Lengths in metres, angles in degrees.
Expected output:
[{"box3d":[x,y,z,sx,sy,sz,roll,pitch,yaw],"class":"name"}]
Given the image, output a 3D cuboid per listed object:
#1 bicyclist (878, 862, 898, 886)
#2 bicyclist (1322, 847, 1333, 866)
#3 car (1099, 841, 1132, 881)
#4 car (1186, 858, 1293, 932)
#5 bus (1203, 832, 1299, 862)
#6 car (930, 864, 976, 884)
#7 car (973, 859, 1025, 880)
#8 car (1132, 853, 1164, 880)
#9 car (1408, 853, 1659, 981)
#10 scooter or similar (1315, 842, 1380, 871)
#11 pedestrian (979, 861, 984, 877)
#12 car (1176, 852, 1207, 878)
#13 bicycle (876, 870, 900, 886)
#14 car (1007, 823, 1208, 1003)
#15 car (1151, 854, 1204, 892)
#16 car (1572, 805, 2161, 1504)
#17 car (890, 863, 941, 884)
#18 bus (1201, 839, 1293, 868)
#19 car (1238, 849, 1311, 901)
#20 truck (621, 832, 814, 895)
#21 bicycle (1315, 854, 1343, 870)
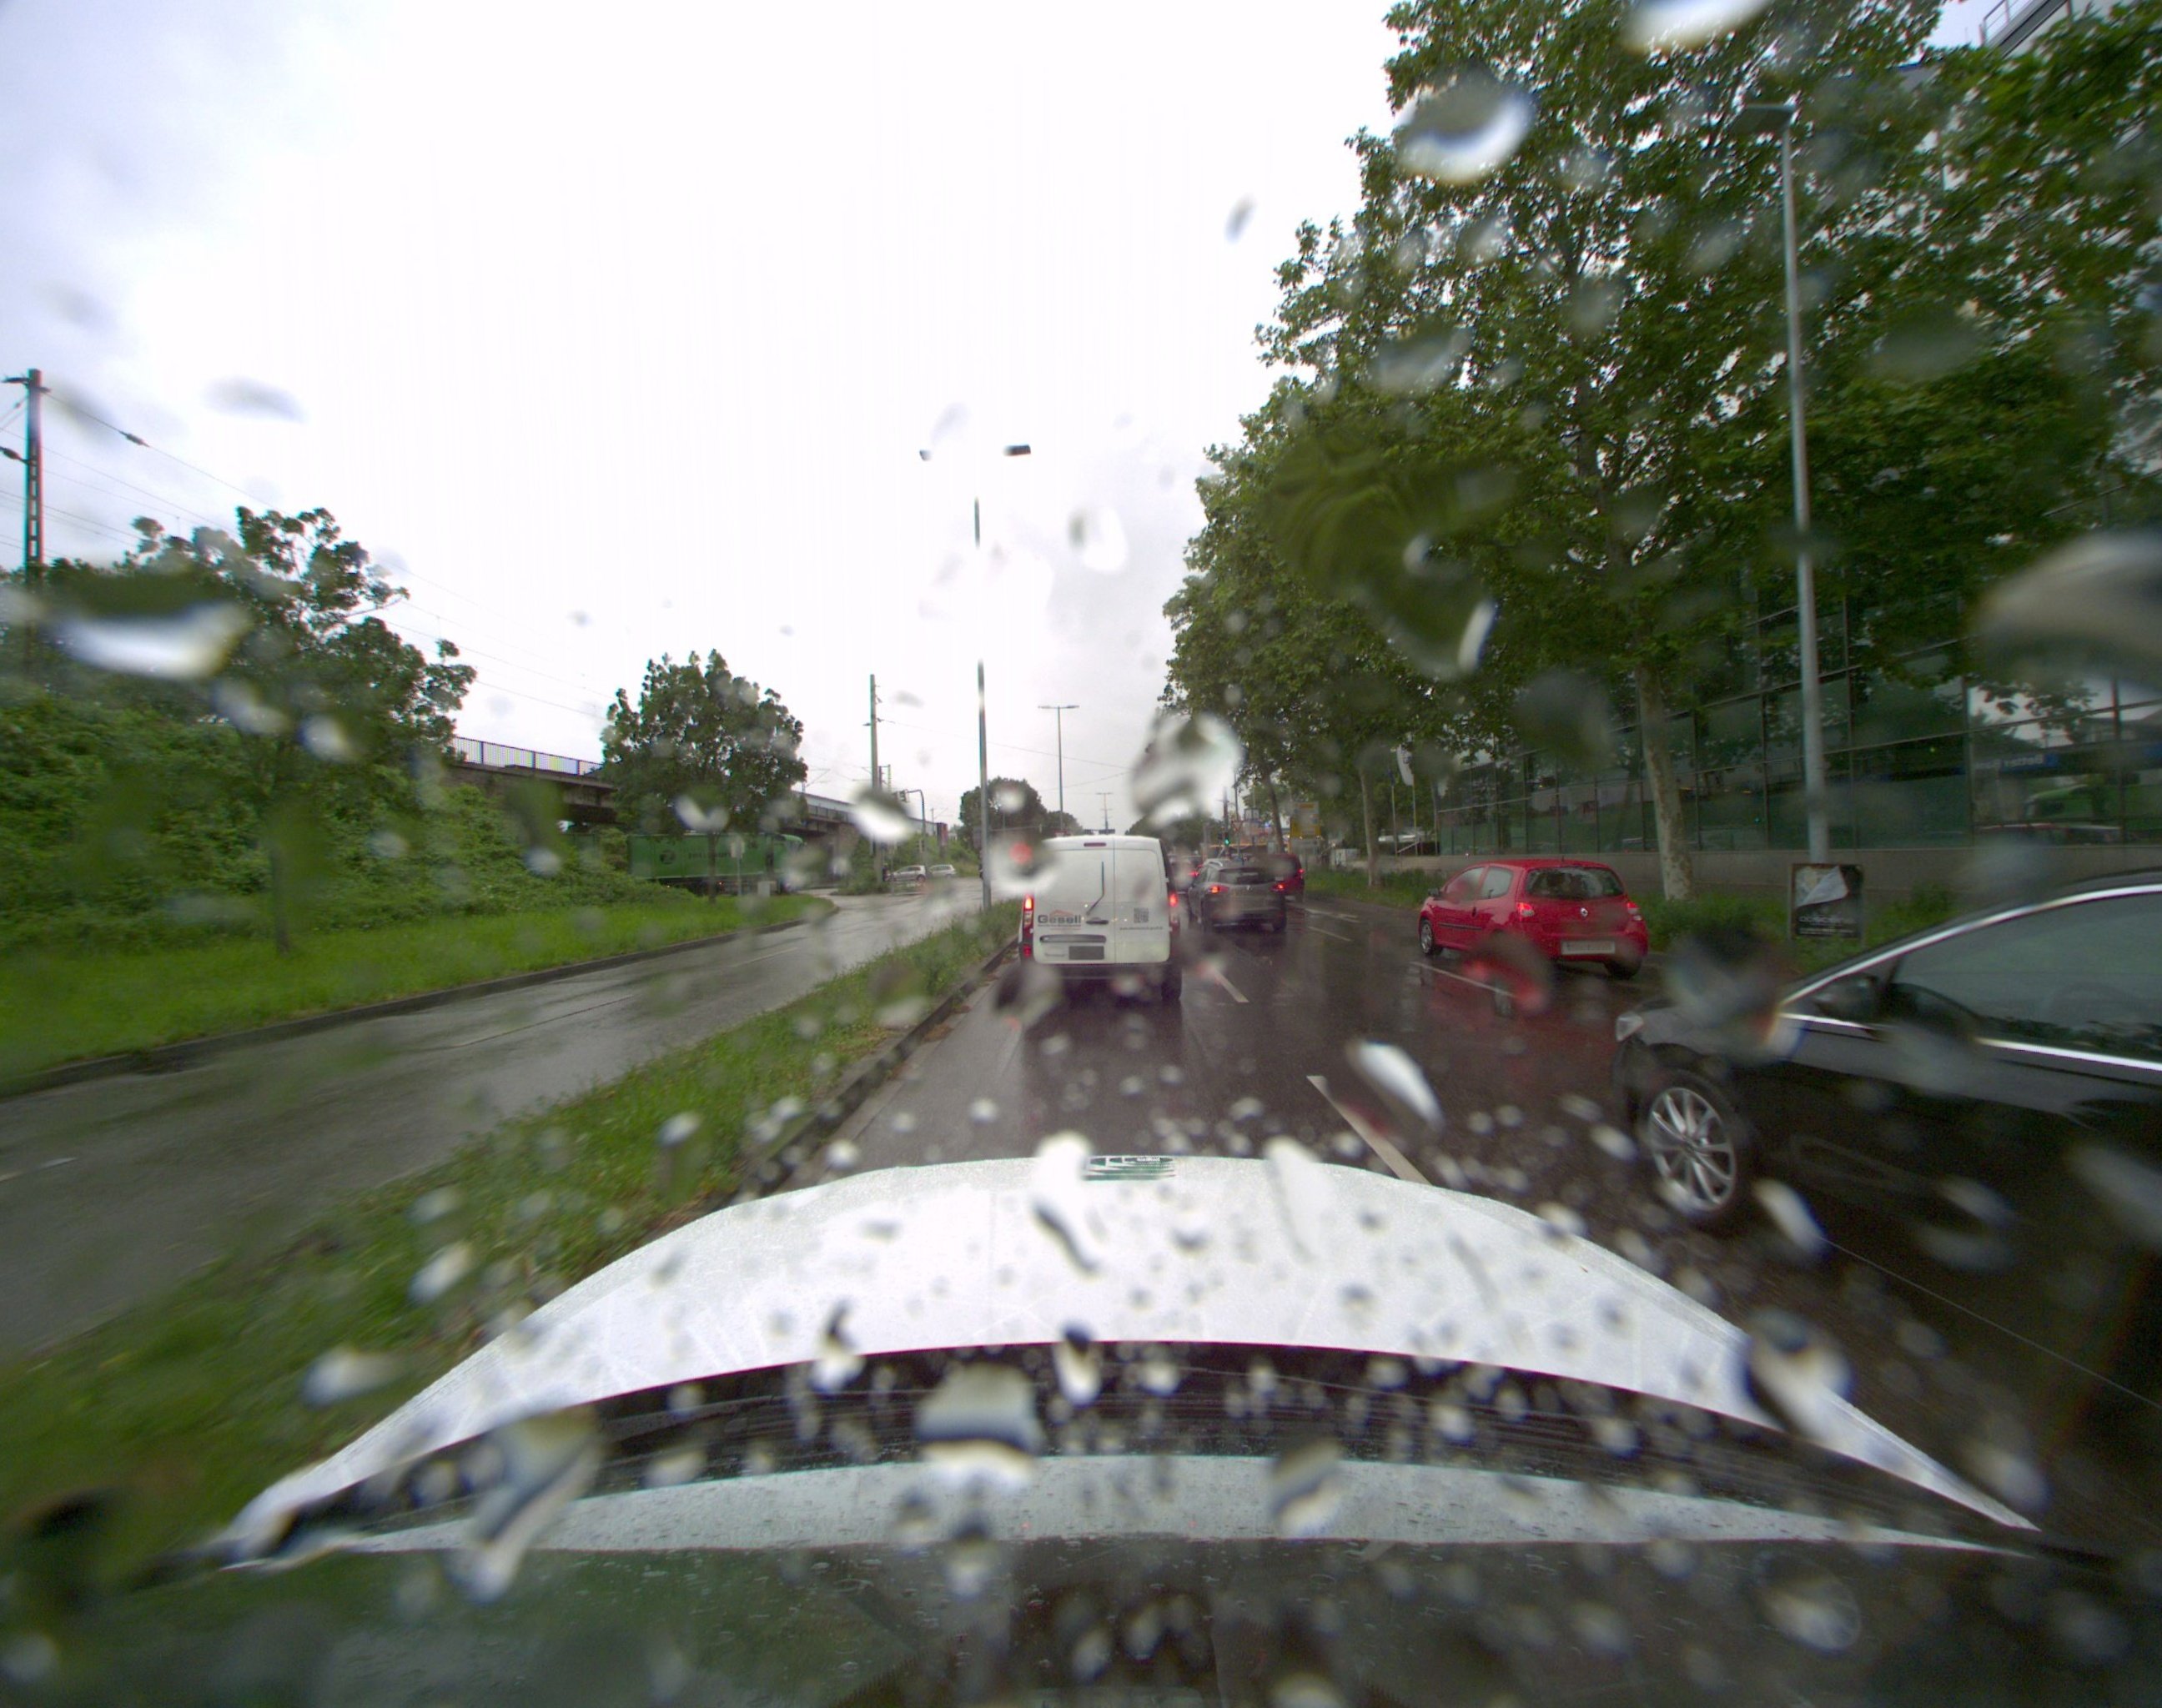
[{"box3d":[-12.235,1.256,51.581,1.045,1.450,0.723,-2,0,-23],"class":"bicyclist"},{"box3d":[18.698,0.174,61.745,0.613,1.419,0.473,-2,-1,43],"class":"bicyclist"},{"box3d":[2.085,0.394,49.207,1.847,2.296,3.844,-1,0,2],"class":"car"},{"box3d":[3.367,0.817,17.917,1.677,1.408,3.844,0,0,1],"class":"car"},{"box3d":[22.096,-0.882,106.145,11.925,3.423,2.316,-2,0,2],"class":"bus"},{"box3d":[-12.297,1.942,78.142,3.997,1.717,1.988,-3,-1,-17],"class":"car"},{"box3d":[-6.942,1.334,69.064,4.137,1.651,1.811,-2,-1,34],"class":"car"},{"box3d":[4.241,0.786,52.236,1.847,1.649,3.844,-1,0,2],"class":"car"},{"box3d":[5.911,0.732,11.108,1.563,1.463,3.390,-1,0,1],"class":"car"},{"box3d":[23.550,0.225,72.230,1.905,2.446,5.257,-1,0,-38],"class":"scooter or similar"},{"box3d":[-11.243,1.701,92.196,0.541,1.716,0.563,0,-1,-2],"class":"pedestrian"},{"box3d":[7.675,0.728,56.839,1.701,1.728,3.844,-1,0,2],"class":"car"},{"box3d":[-12.231,1.507,51.606,1.045,0.952,2.867,-2,0,-22],"class":"bicycle"},{"box3d":[0.344,0.601,10.515,1.986,1.776,4.587,-1,0,2],"class":"car"},{"box3d":[3.892,0.738,33.443,1.847,1.460,3.844,-1,0,2],"class":"car"},{"box3d":[3.266,0.657,1.972,1.741,1.554,4.091,-1,0,1],"class":"car"},{"box3d":[-14.323,1.682,70.485,3.797,1.543,2.003,-3,-1,5],"class":"car"},{"box3d":[22.407,-0.054,110.104,11.938,3.423,2.481,-2,0,-2],"class":"bus"},{"box3d":[6.781,0.714,28.895,1.704,1.694,4.273,0,-1,2],"class":"car"},{"box3d":[-21.189,0.465,48.011,10.104,3.371,2.322,-1,0,-35],"class":"truck"},{"box3d":[18.877,0.586,61.908,0.613,1.186,3.394,-2,-1,43],"class":"bicycle"}]
